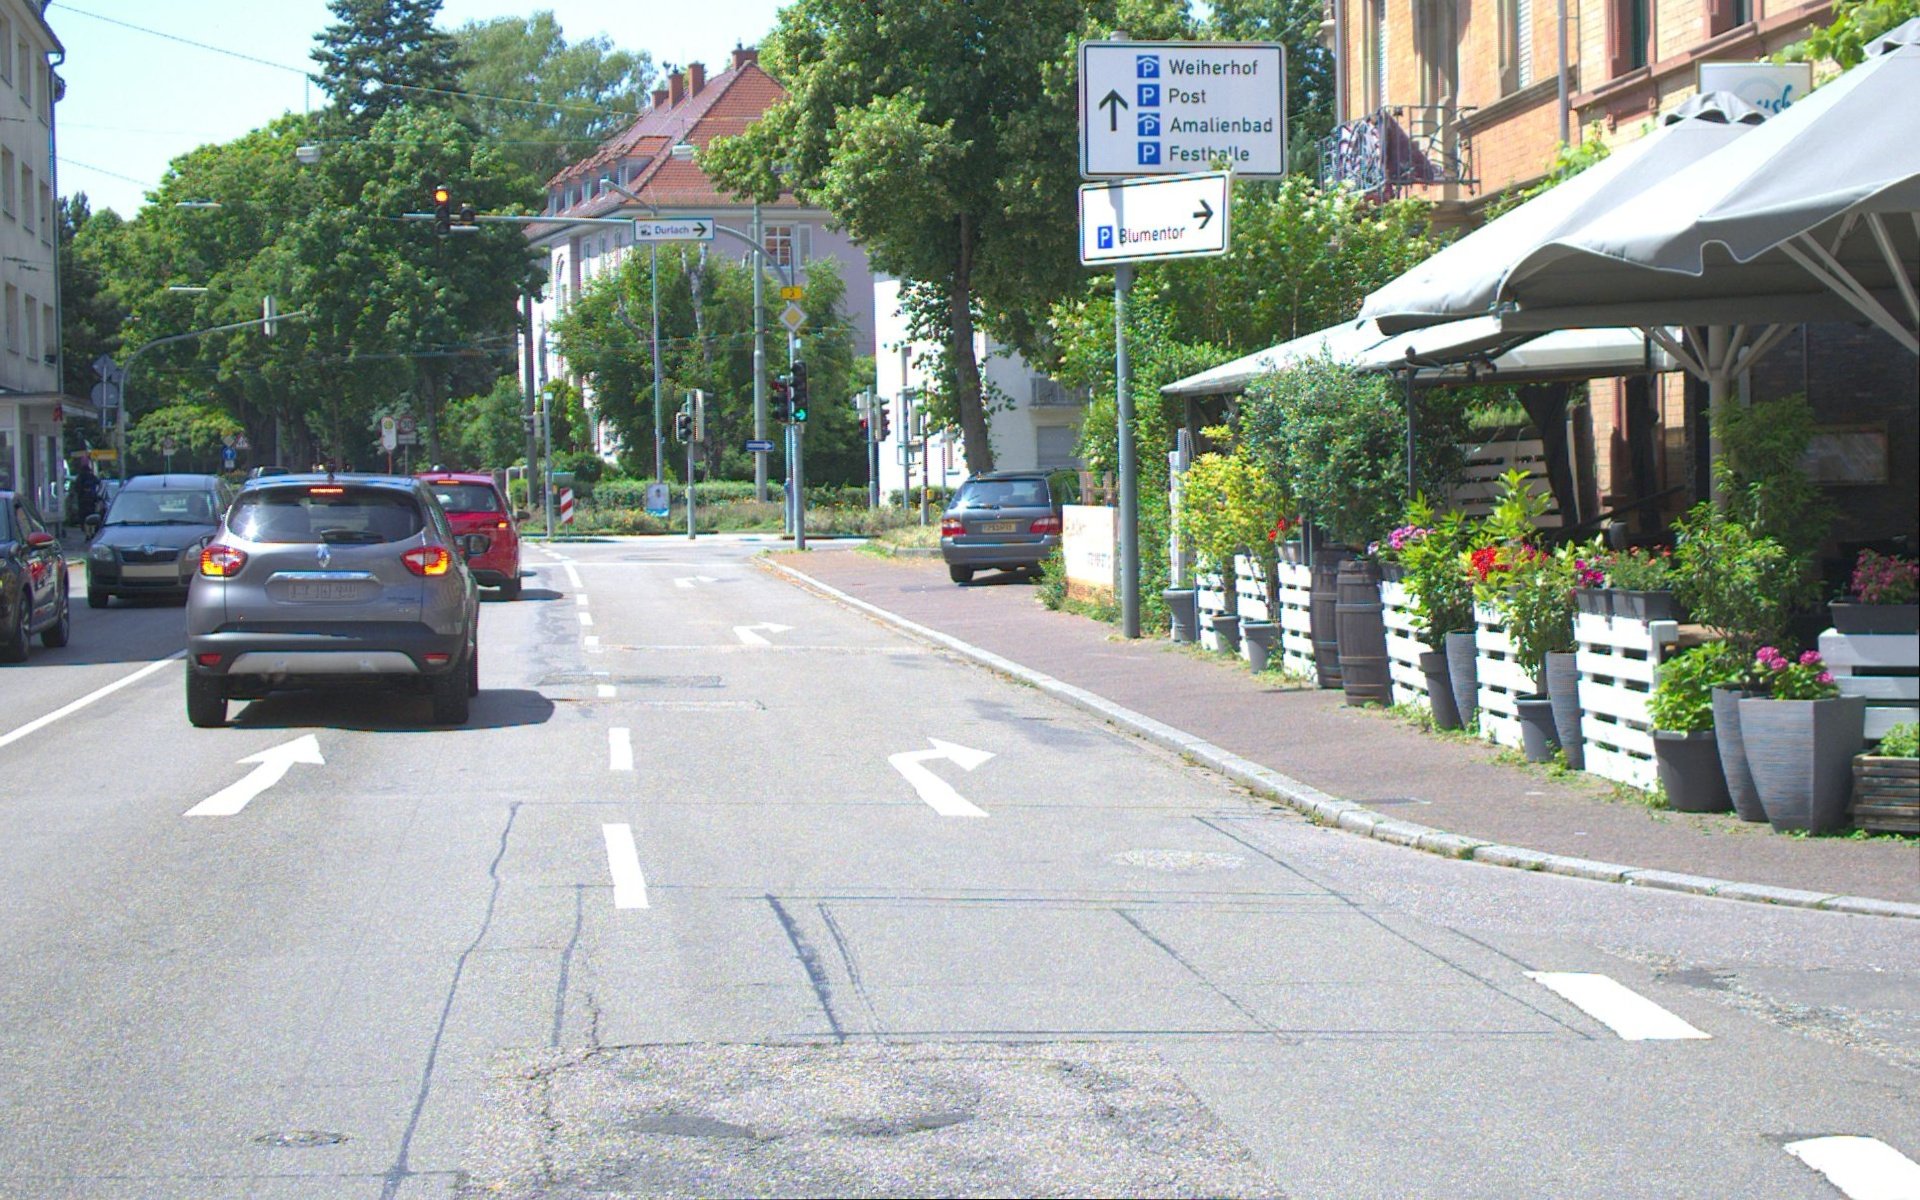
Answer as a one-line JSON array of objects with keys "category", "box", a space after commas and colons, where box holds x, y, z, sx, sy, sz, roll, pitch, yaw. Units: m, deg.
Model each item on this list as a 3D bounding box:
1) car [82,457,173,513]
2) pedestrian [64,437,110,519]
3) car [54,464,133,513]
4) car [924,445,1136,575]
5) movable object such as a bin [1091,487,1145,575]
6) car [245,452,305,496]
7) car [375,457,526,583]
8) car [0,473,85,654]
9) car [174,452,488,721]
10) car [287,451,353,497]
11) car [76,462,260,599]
[{"category": "car", "box": [-23.170, -3.186, 95.577, 1.993, 1.514, 4.001, 0, 1, -20]}, {"category": "pedestrian", "box": [-20.685, -2.887, 81.431, 0.935, 1.924, 0.977, -1, 2, -19]}, {"category": "car", "box": [-27.347, -3.531, 108.453, 1.993, 1.504, 4.001, -1, 2, -20]}, {"category": "car", "box": [1.037, -1.283, 47.325, 1.835, 1.543, 5.154, -1, 4, 13]}, {"category": "movable object such as a bin", "box": [1.949, -0.849, 42.296, 0.649, 1.067, 0.637, 0, 2, 3]}, {"category": "car", "box": [-29.656, -5.455, 148.722, 1.993, 1.900, 4.002, -1, 3, -19]}, {"category": "car", "box": [-6.561, -1.067, 44.571, 1.798, 1.552, 4.039, 0, 2, -6]}, {"category": "car", "box": [-8.908, -0.353, 30.355, 1.701, 1.472, 4.135, -2, 2, -6]}, {"category": "car", "box": [-4.085, -0.165, 22.860, 1.753, 1.626, 4.001, 0, 2, -6]}, {"category": "car", "box": [-25.330, -5.003, 135.956, 1.993, 1.801, 4.002, -1, 3, -19]}, {"category": "car", "box": [-9.833, -0.912, 42.955, 1.701, 1.569, 4.313, -2, 2, -6]}]
